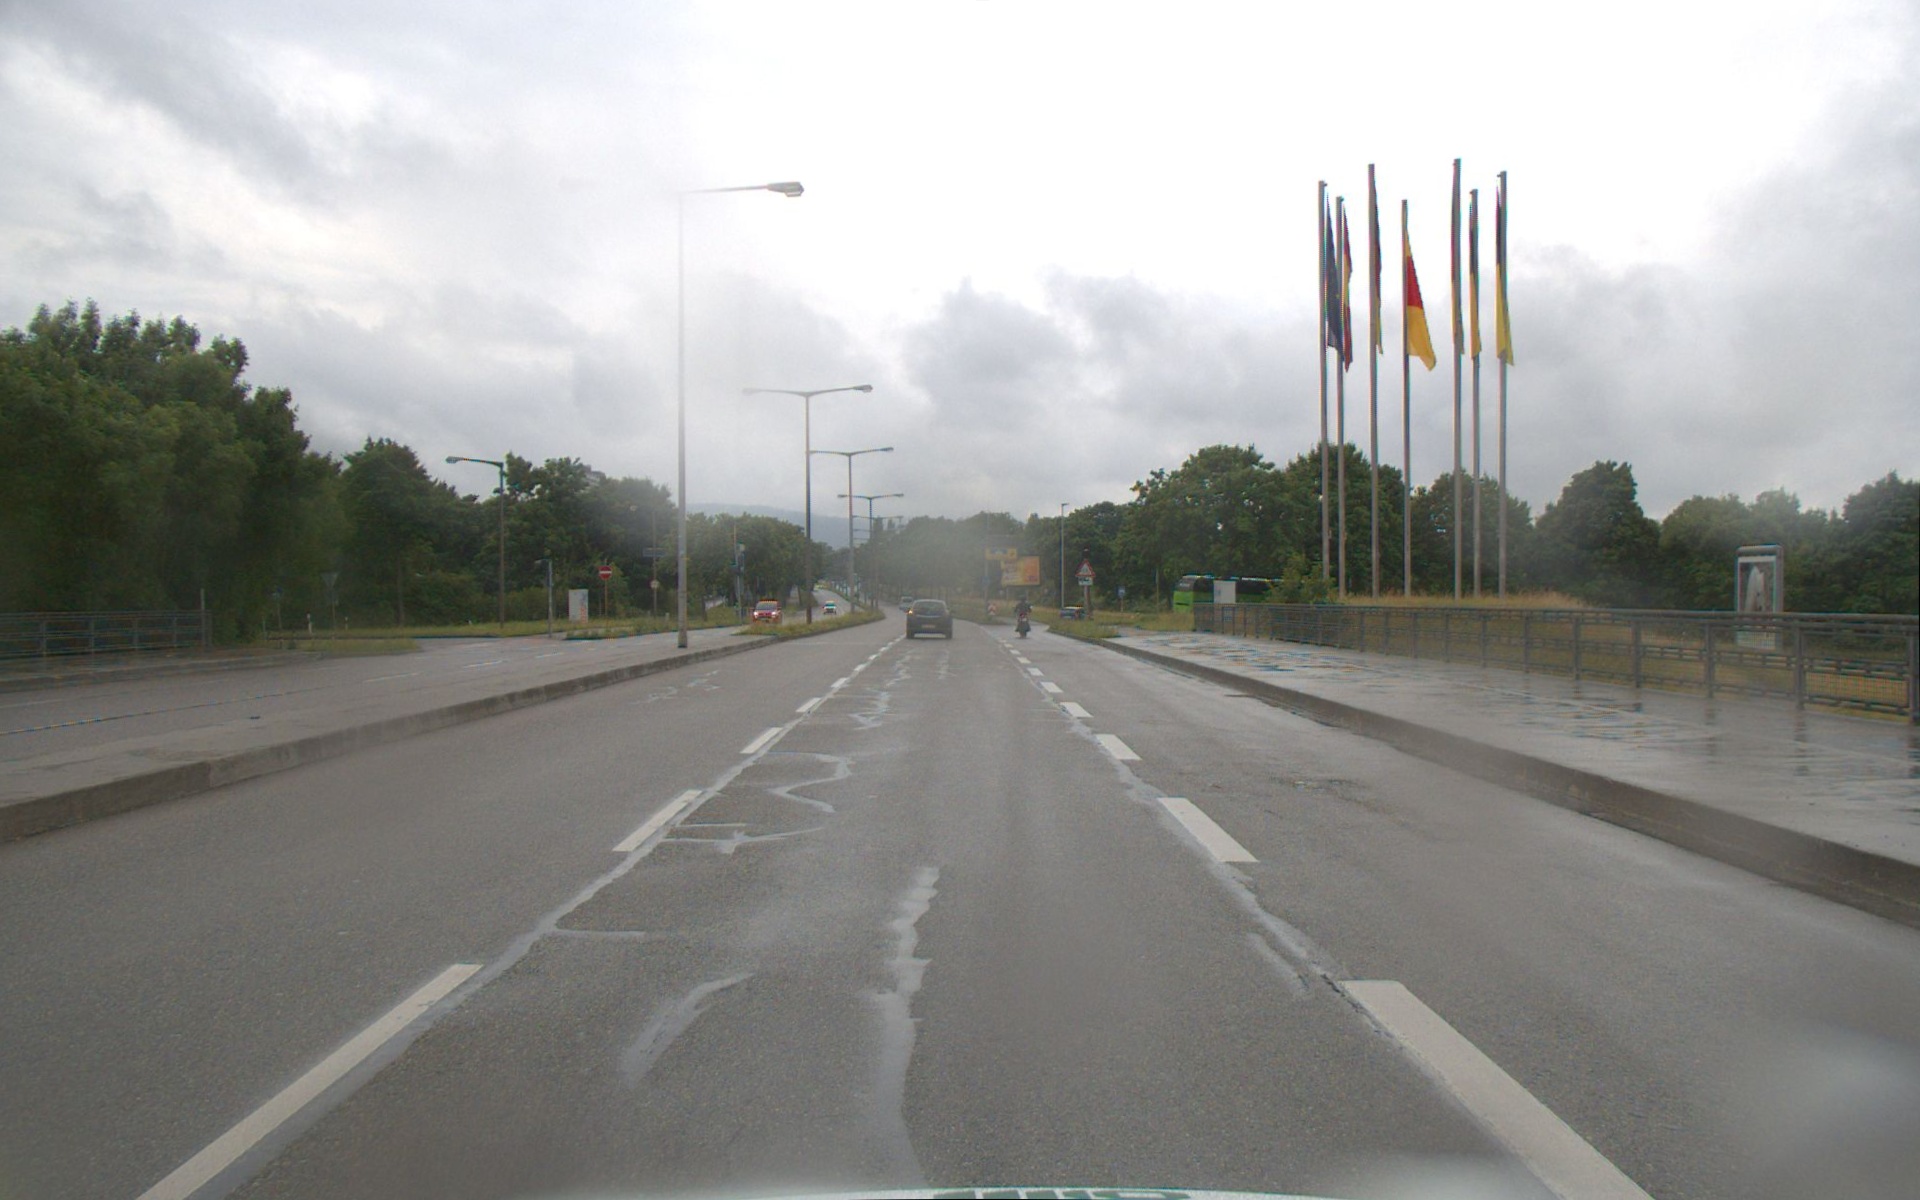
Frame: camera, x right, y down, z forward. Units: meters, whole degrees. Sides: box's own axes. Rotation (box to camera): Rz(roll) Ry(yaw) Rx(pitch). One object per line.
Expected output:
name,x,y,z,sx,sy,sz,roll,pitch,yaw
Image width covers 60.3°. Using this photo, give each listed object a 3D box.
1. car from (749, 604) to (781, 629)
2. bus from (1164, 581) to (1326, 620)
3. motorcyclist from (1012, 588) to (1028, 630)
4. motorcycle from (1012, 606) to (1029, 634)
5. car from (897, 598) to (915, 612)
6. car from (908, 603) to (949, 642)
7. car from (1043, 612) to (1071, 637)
car,-12.352,1.037,104.948,1.627,1.474,3.556,-2,0,-1
bus,22.475,0.065,129.588,14.400,2.726,2.733,1,0,-32
motorcyclist,2.498,0.384,68.447,0.589,1.719,0.860,1,0,-2
motorcycle,2.505,0.834,68.466,0.589,1.112,1.731,1,0,-2
car,-8.290,0.834,255.576,2.467,2.088,5.287,0,0,-5
car,-1.188,0.801,61.428,1.433,1.352,3.756,1,0,-2
car,6.730,1.700,114.923,1.816,1.646,4.001,1,0,1
